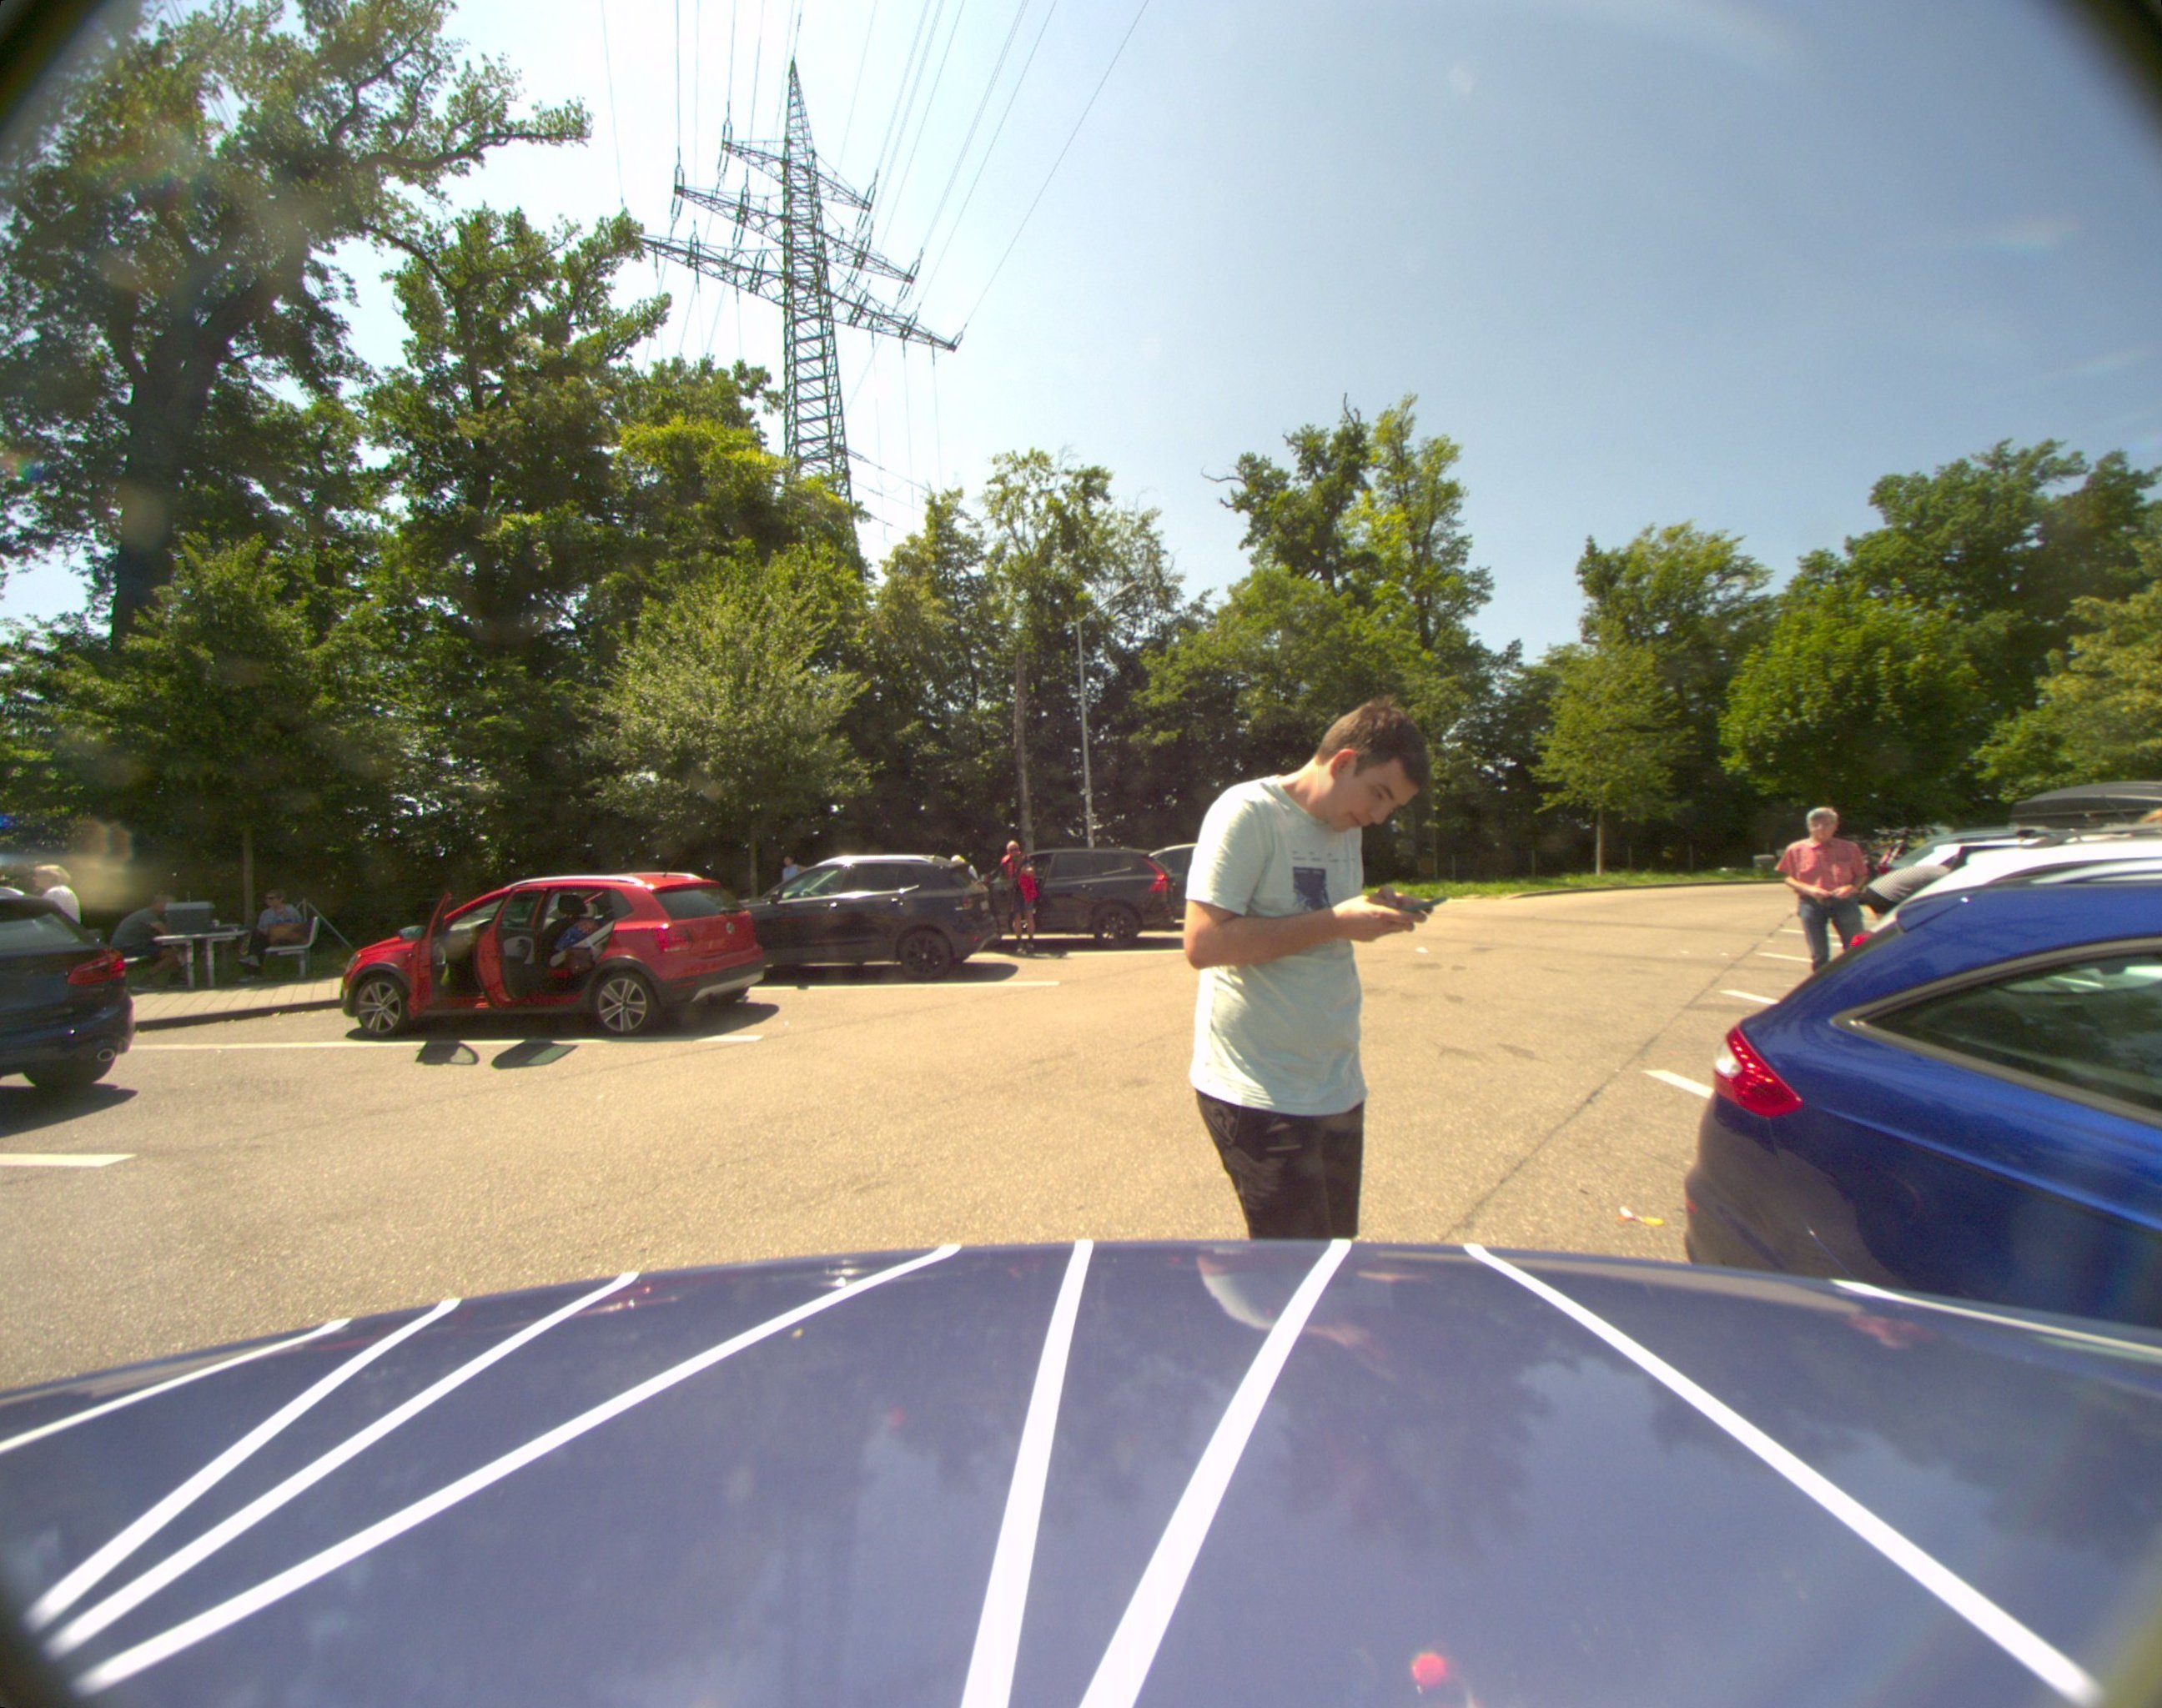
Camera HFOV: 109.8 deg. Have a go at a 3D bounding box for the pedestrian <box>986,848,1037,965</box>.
[{"bbox_3d":[-1.068,0.804,11.835,0.660,1.745,0.636,-2,0,1],"label":"pedestrian"}]

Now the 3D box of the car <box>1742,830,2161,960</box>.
[{"bbox_3d":[12.369,0.481,10.926,1.779,1.456,4.470,-2,-1,0],"label":"car"}]

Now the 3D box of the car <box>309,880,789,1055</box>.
[{"bbox_3d":[-5.190,1.080,7.706,3.704,1.448,1.781,-2,0,7],"label":"car"}]

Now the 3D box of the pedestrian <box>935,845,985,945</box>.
[{"bbox_3d":[-2.339,0.771,14.623,0.682,1.854,0.713,-2,0,-30],"label":"pedestrian"}]

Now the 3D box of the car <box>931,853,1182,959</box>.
[{"bbox_3d":[-0.323,0.848,12.944,3.964,1.582,1.781,-2,0,8],"label":"car"}]

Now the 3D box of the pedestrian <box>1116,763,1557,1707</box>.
[{"bbox_3d":[0.456,0.707,1.609,0.687,1.699,0.578,-2,0,1],"label":"pedestrian"}]

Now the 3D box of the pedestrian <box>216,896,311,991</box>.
[{"bbox_3d":[-11.858,1.280,11.029,0.828,1.287,0.672,-2,0,24],"label":"pedestrian"}]

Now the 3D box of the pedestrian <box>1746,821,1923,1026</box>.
[{"bbox_3d":[6.280,0.552,6.376,0.672,1.592,0.759,-2,0,1],"label":"pedestrian"}]

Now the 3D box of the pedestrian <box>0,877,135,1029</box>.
[{"bbox_3d":[-11.515,1.075,8.520,0.774,1.584,0.810,-2,0,8],"label":"pedestrian"}]

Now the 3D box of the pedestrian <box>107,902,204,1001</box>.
[{"bbox_3d":[-12.732,1.314,10.462,0.652,1.262,0.672,-2,0,24],"label":"pedestrian"}]

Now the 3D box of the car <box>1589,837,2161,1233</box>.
[{"bbox_3d":[4.887,0.663,3.691,1.779,1.456,4.470,-2,-1,0],"label":"car"}]

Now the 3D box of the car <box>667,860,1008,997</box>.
[{"bbox_3d":[-3.142,0.946,10.365,3.966,1.582,1.841,-2,0,3],"label":"car"}]

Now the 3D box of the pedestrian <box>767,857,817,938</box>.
[{"bbox_3d":[-5.867,0.863,15.470,0.715,1.584,0.809,-2,0,-7],"label":"pedestrian"}]

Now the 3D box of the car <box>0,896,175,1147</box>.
[{"bbox_3d":[-8.915,1.164,4.988,4.011,1.558,1.846,-2,0,6],"label":"car"}]

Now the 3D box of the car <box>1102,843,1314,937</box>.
[{"bbox_3d":[2.513,0.704,15.435,3.964,1.678,1.781,-2,0,7],"label":"car"}]

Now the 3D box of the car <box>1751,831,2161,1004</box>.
[{"bbox_3d":[10.067,0.538,8.142,1.779,1.456,4.470,-2,-1,0],"label":"car"}]

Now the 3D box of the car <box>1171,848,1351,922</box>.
[{"bbox_3d":[4.182,0.720,18.188,3.964,1.577,1.781,-2,0,7],"label":"car"}]
